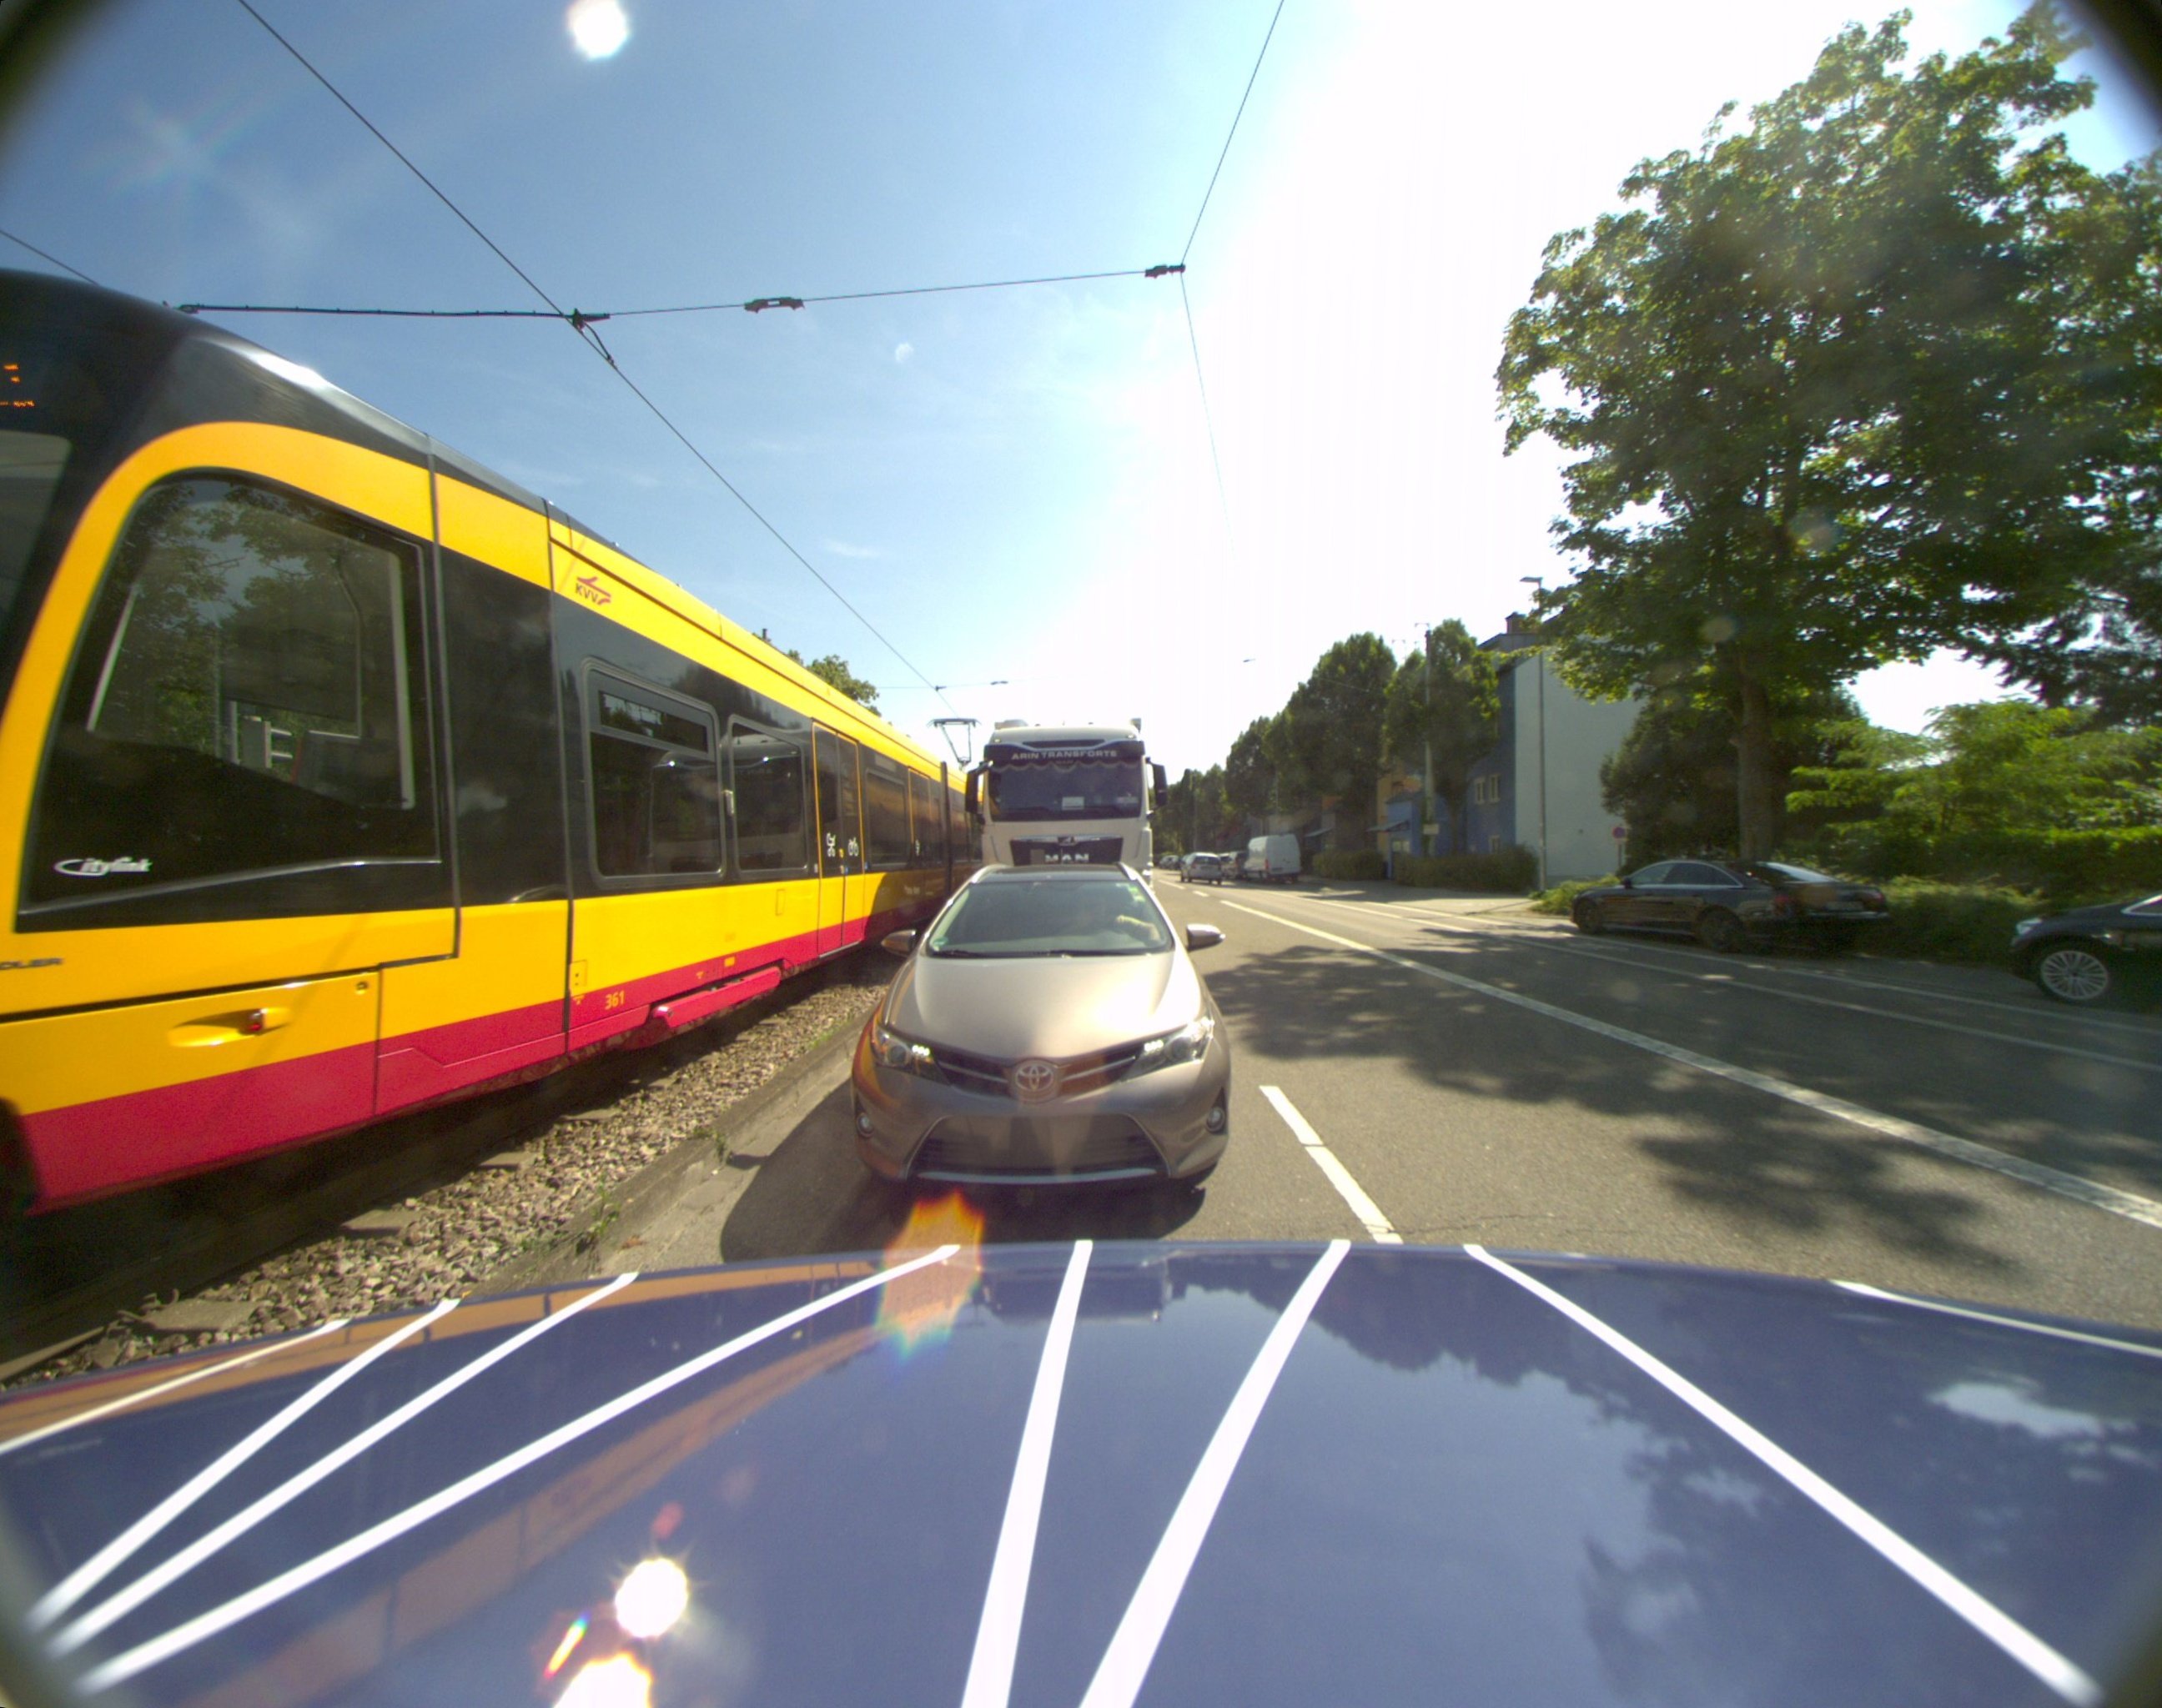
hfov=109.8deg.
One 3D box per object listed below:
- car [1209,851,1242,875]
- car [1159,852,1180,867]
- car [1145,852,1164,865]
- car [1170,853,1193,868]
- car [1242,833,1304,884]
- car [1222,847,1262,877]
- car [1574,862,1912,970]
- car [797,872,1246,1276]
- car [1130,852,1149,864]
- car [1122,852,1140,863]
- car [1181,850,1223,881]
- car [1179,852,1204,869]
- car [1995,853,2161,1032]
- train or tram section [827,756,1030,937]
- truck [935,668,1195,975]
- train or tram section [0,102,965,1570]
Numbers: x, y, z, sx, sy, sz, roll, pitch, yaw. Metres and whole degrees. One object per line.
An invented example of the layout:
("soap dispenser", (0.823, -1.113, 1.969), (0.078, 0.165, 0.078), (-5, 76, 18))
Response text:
("car", (10.888, 0.619, 57.624), (1.679, 1.659, 4.148), (-4, 0, 1))
("car", (9.993, 0.590, 86.314), (1.679, 1.493, 3.765), (-4, 0, -3))
("car", (9.344, 0.530, 97.048), (1.679, 1.493, 3.765), (-4, 0, -5))
("car", (10.468, 0.650, 79.303), (1.679, 1.493, 3.765), (-4, 0, -3))
("car", (10.906, 0.240, 43.647), (2.016, 2.636, 6.086), (-4, 0, 1))
("car", (10.954, 0.513, 51.977), (1.679, 1.925, 4.457), (-4, 0, 1))
("car", (10.546, 0.869, 12.664), (1.679, 1.427, 4.457), (0, 0, -1))
("car", (-0.210, 0.917, 5.003), (1.719, 1.439, 4.030), (-2, 0, 1))
("car", (8.036, 0.507, 105.255), (1.680, 1.493, 3.763), (-4, 0, -10))
("car", (7.270, 0.505, 110.015), (1.680, 1.493, 3.763), (-1, 0, -10))
("car", (6.452, 0.591, 40.877), (1.846, 1.586, 4.001), (0, 0, 4))
("car", (10.714, 0.649, 73.860), (1.679, 1.493, 3.765), (-4, 0, -3))
("car", (10.544, 0.798, 5.917), (1.679, 1.603, 4.242), (0, 0, -1))
("train or tram section", (-3.776, -0.260, 25.167), (2.679, 3.631, 18.955), (-2, 1, 0))
("truck", (-0.130, -0.465, 17.377), (3.391, 4.046, 14.286), (-2, 0, 1))
("train or tram section", (-3.923, -0.112, 8.069), (2.676, 3.631, 15.304), (-2, 1, 1))
